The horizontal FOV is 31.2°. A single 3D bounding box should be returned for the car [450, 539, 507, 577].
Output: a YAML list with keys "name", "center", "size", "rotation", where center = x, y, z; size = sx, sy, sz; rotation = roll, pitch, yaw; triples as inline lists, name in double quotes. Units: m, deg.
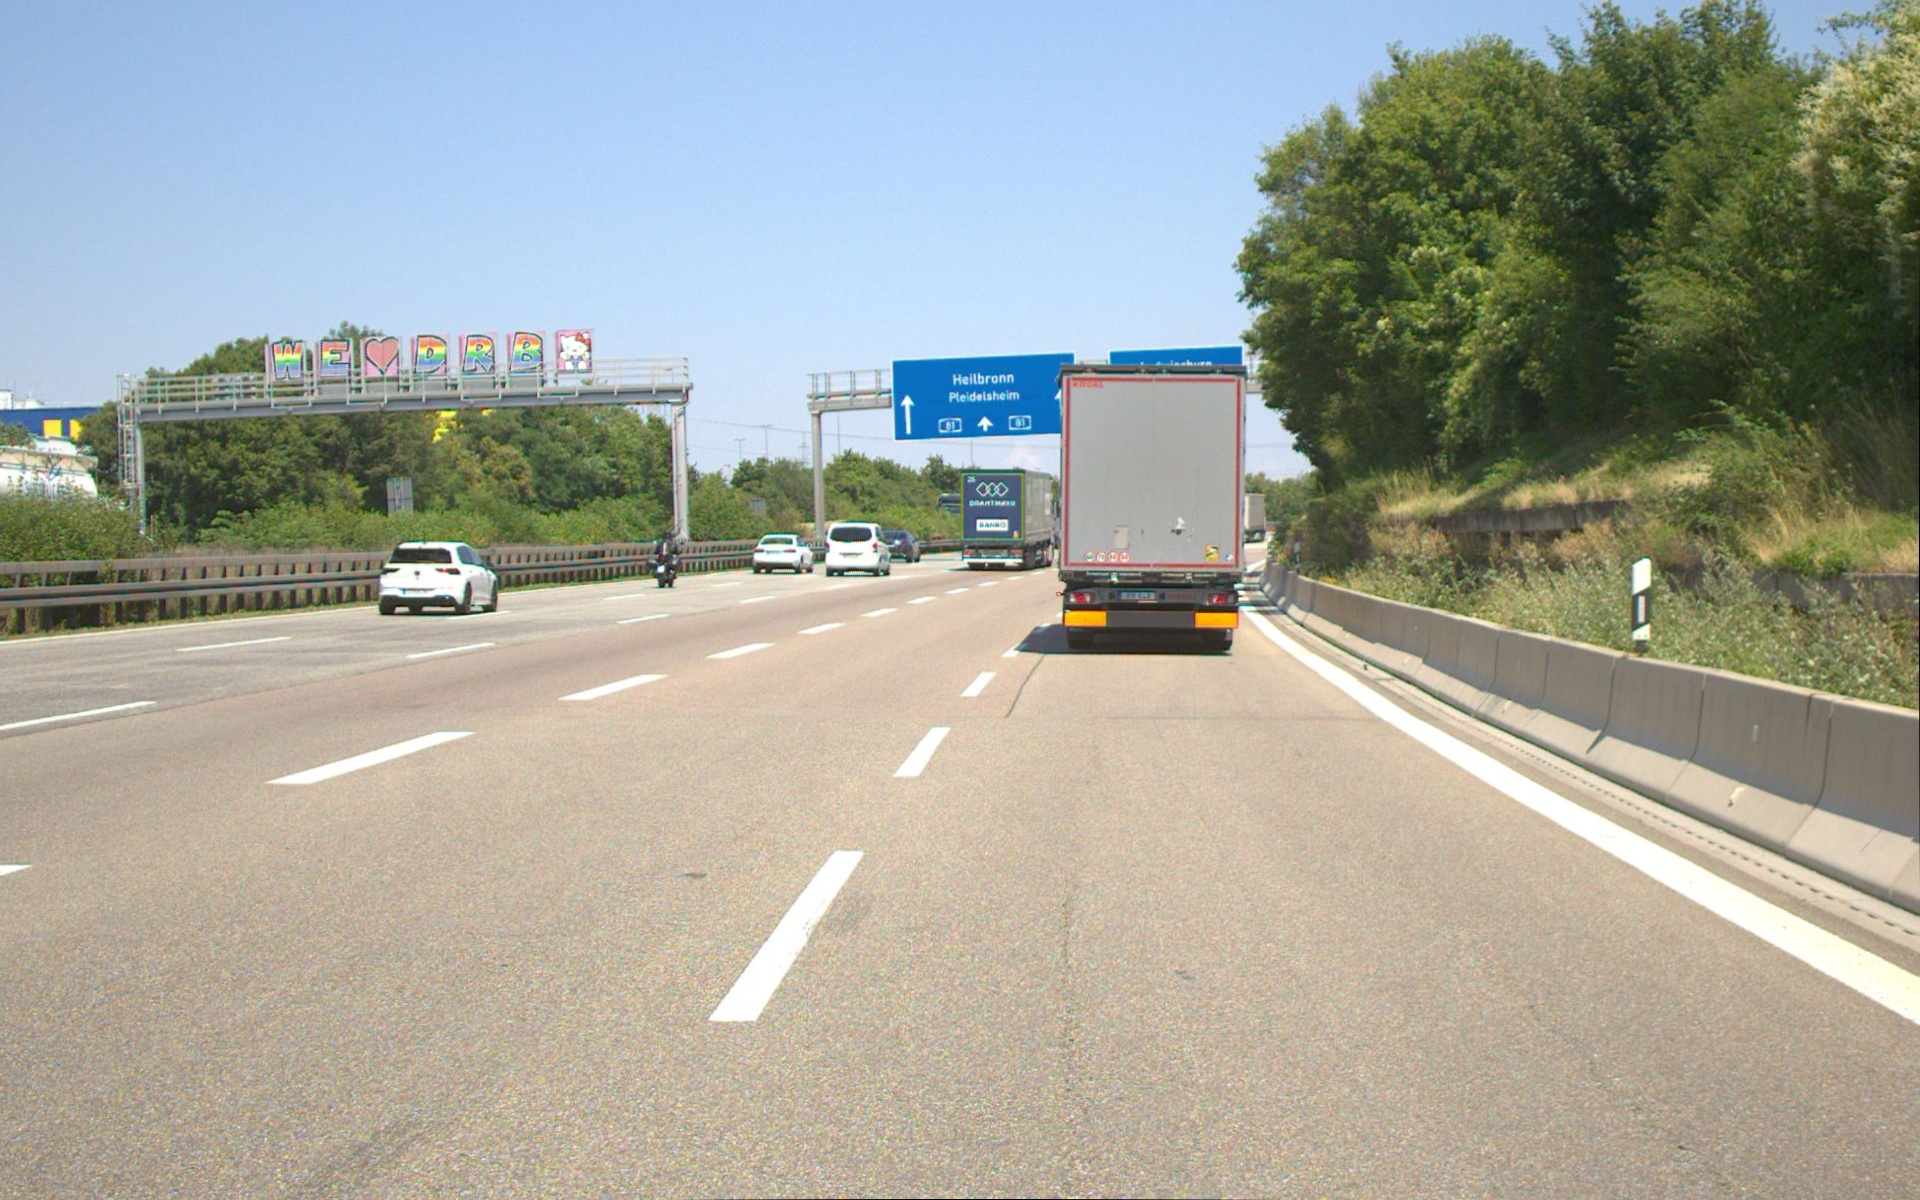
- name: "car"
  center: [-23.538, -2.058, 168.314]
  size: [1.904, 1.711, 4.630]
  rotation: [-1, -1, 3]

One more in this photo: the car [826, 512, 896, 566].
- name: "car"
  center: [-3.472, -2.128, 121.402]
  size: [1.931, 1.845, 4.691]
  rotation: [-1, 1, 5]

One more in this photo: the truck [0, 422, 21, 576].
- name: "truck"
  center: [-25.664, -2.541, 85.614]
  size: [2.695, 3.875, 5.745]
  rotation: [1, 1, 3]

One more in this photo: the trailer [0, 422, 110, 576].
- name: "trailer"
  center: [-25.357, -2.666, 91.208]
  size: [2.690, 3.875, 9.733]
  rotation: [1, 1, 3]

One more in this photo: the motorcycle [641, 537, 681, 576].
- name: "motorcycle"
  center: [-8.508, -1.233, 98.026]
  size: [0.912, 1.085, 2.850]
  rotation: [0, 0, -1]

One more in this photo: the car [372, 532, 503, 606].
- name: "car"
  center: [-10.482, -0.643, 69.245]
  size: [1.782, 1.435, 4.669]
  rotation: [0, 1, 2]

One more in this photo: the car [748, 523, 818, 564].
- name: "car"
  center: [-6.537, -2.083, 127.458]
  size: [1.877, 1.435, 5.124]
  rotation: [0, 0, 5]

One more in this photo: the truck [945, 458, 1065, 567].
- name: "truck"
  center: [1.983, -3.628, 142.136]
  size: [3.748, 4.255, 14.493]
  rotation: [1, 1, 5]

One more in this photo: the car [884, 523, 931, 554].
- name: "car"
  center: [-2.449, -2.887, 161.342]
  size: [1.757, 1.404, 5.039]
  rotation: [-1, 1, 4]

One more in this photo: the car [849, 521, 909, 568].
- name: "car"
  center: [-3.237, -2.220, 137.947]
  size: [1.877, 1.800, 5.125]
  rotation: [0, 0, 5]

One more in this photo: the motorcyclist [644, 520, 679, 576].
- name: "motorcyclist"
  center: [-8.514, -1.475, 98.022]
  size: [0.893, 1.591, 1.299]
  rotation: [0, 0, -1]

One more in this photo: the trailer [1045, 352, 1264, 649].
- name: "trailer"
  center: [2.940, -1.521, 52.733]
  size: [2.928, 4.001, 12.038]
  rotation: [-1, 2, 3]
